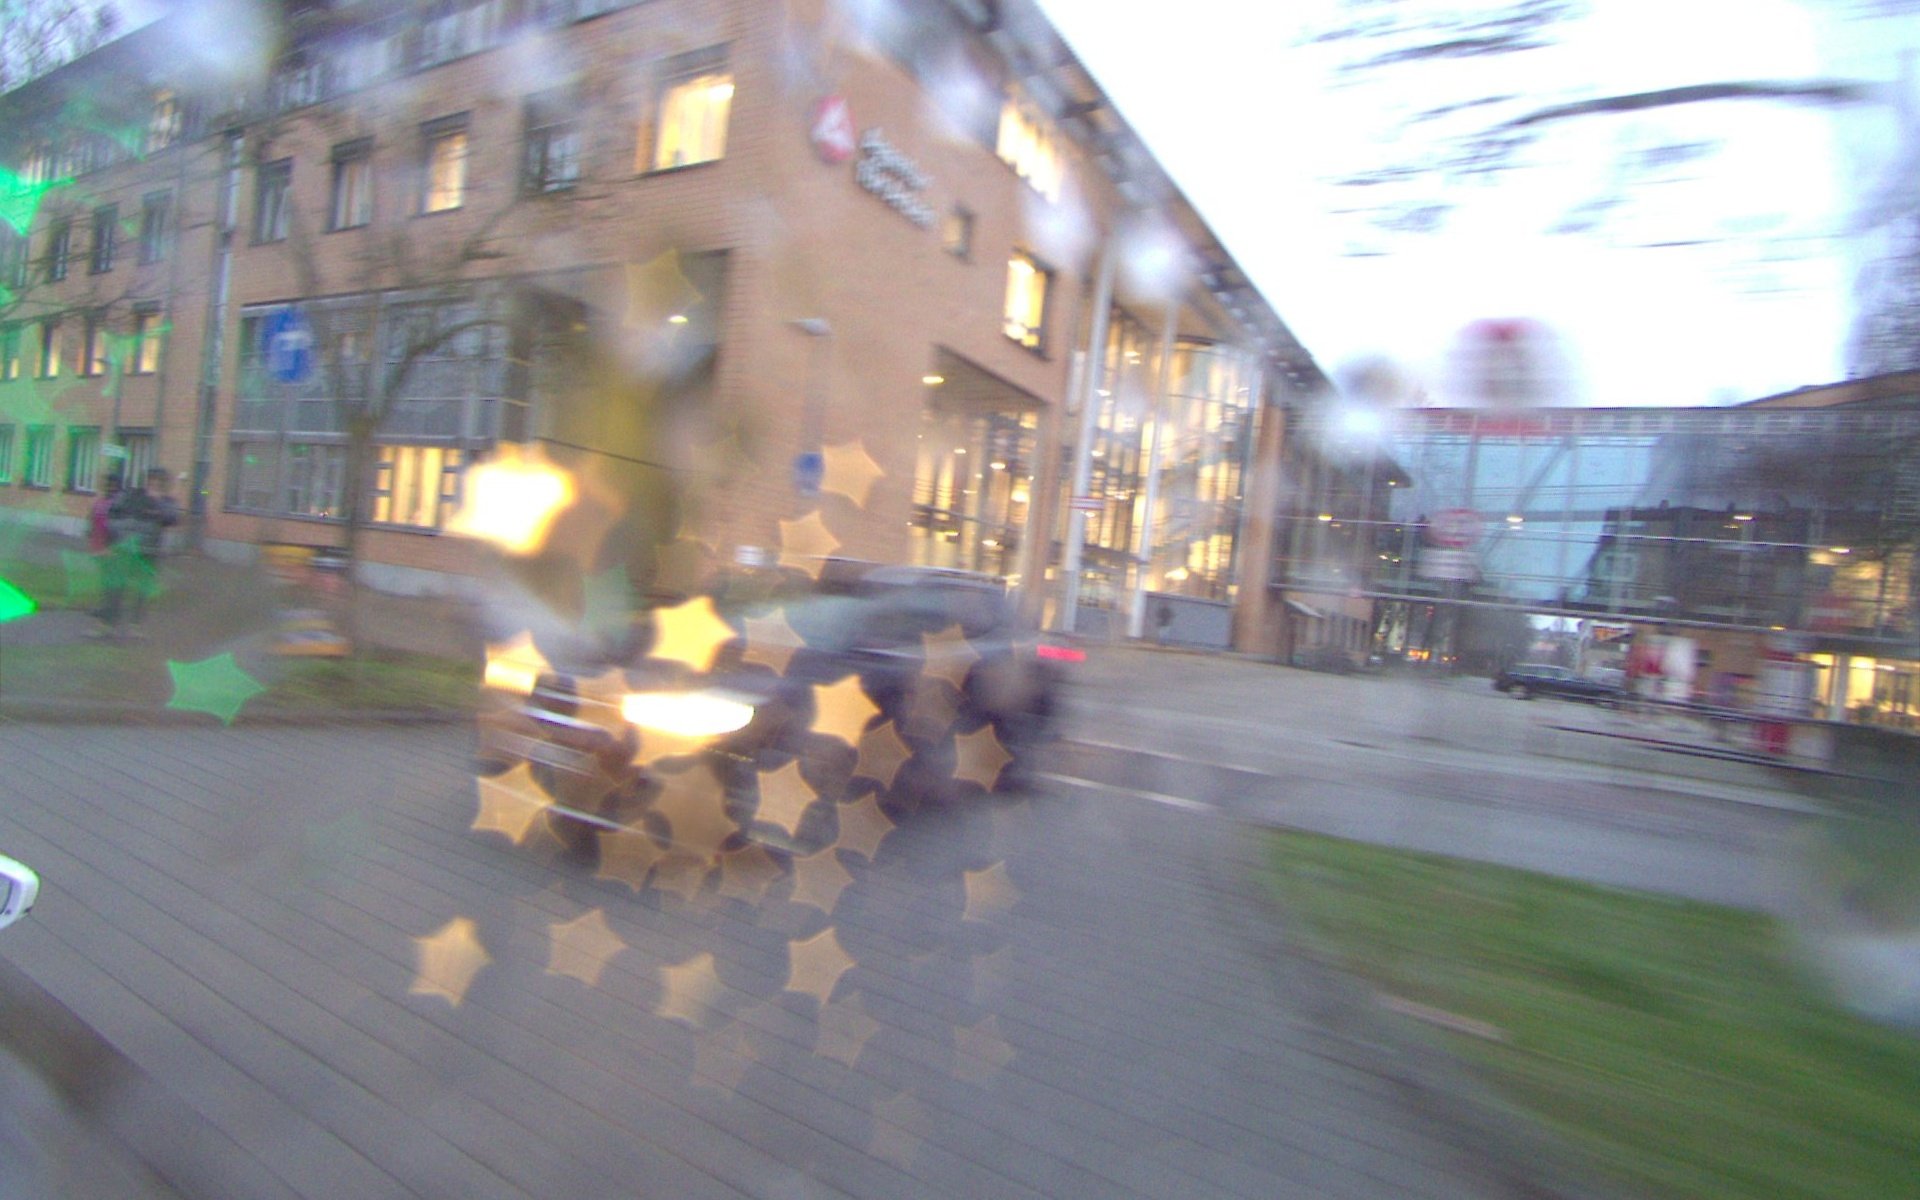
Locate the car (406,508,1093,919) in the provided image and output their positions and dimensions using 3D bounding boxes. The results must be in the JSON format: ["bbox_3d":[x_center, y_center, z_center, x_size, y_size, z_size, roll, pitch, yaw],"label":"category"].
[{"bbox_3d":[-0.885,0.502,6.158,1.714,1.576,3.988,7,1,33],"label":"car"}]

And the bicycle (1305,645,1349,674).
[{"bbox_3d":[16.354,2.649,44.815,1.674,1.087,0.492,6,-2,30],"label":"bicycle"}]

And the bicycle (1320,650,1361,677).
[{"bbox_3d":[18.216,3.035,48.145,1.674,1.087,0.492,6,-2,30],"label":"bicycle"}]

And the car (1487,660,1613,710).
[{"bbox_3d":[23.397,3.332,39.922,3.943,1.416,1.990,7,1,40],"label":"car"}]

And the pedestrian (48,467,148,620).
[{"bbox_3d":[-10.485,-0.674,12.253,0.646,1.764,0.505,6,2,-1],"label":"pedestrian"}]

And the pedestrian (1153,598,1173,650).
[{"bbox_3d":[7.324,0.862,36.347,0.498,1.808,0.502,6,2,16],"label":"pedestrian"}]

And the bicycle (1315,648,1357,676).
[{"bbox_3d":[17.543,2.894,46.915,1.674,1.087,0.492,6,-2,30],"label":"bicycle"}]

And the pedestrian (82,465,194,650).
[{"bbox_3d":[-8.710,-0.439,10.677,0.645,1.848,0.505,6,2,6],"label":"pedestrian"}]

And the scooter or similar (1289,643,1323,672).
[{"bbox_3d":[14.511,2.403,42.200,1.196,1.087,0.393,6,-1,26],"label":"scooter or similar"}]
